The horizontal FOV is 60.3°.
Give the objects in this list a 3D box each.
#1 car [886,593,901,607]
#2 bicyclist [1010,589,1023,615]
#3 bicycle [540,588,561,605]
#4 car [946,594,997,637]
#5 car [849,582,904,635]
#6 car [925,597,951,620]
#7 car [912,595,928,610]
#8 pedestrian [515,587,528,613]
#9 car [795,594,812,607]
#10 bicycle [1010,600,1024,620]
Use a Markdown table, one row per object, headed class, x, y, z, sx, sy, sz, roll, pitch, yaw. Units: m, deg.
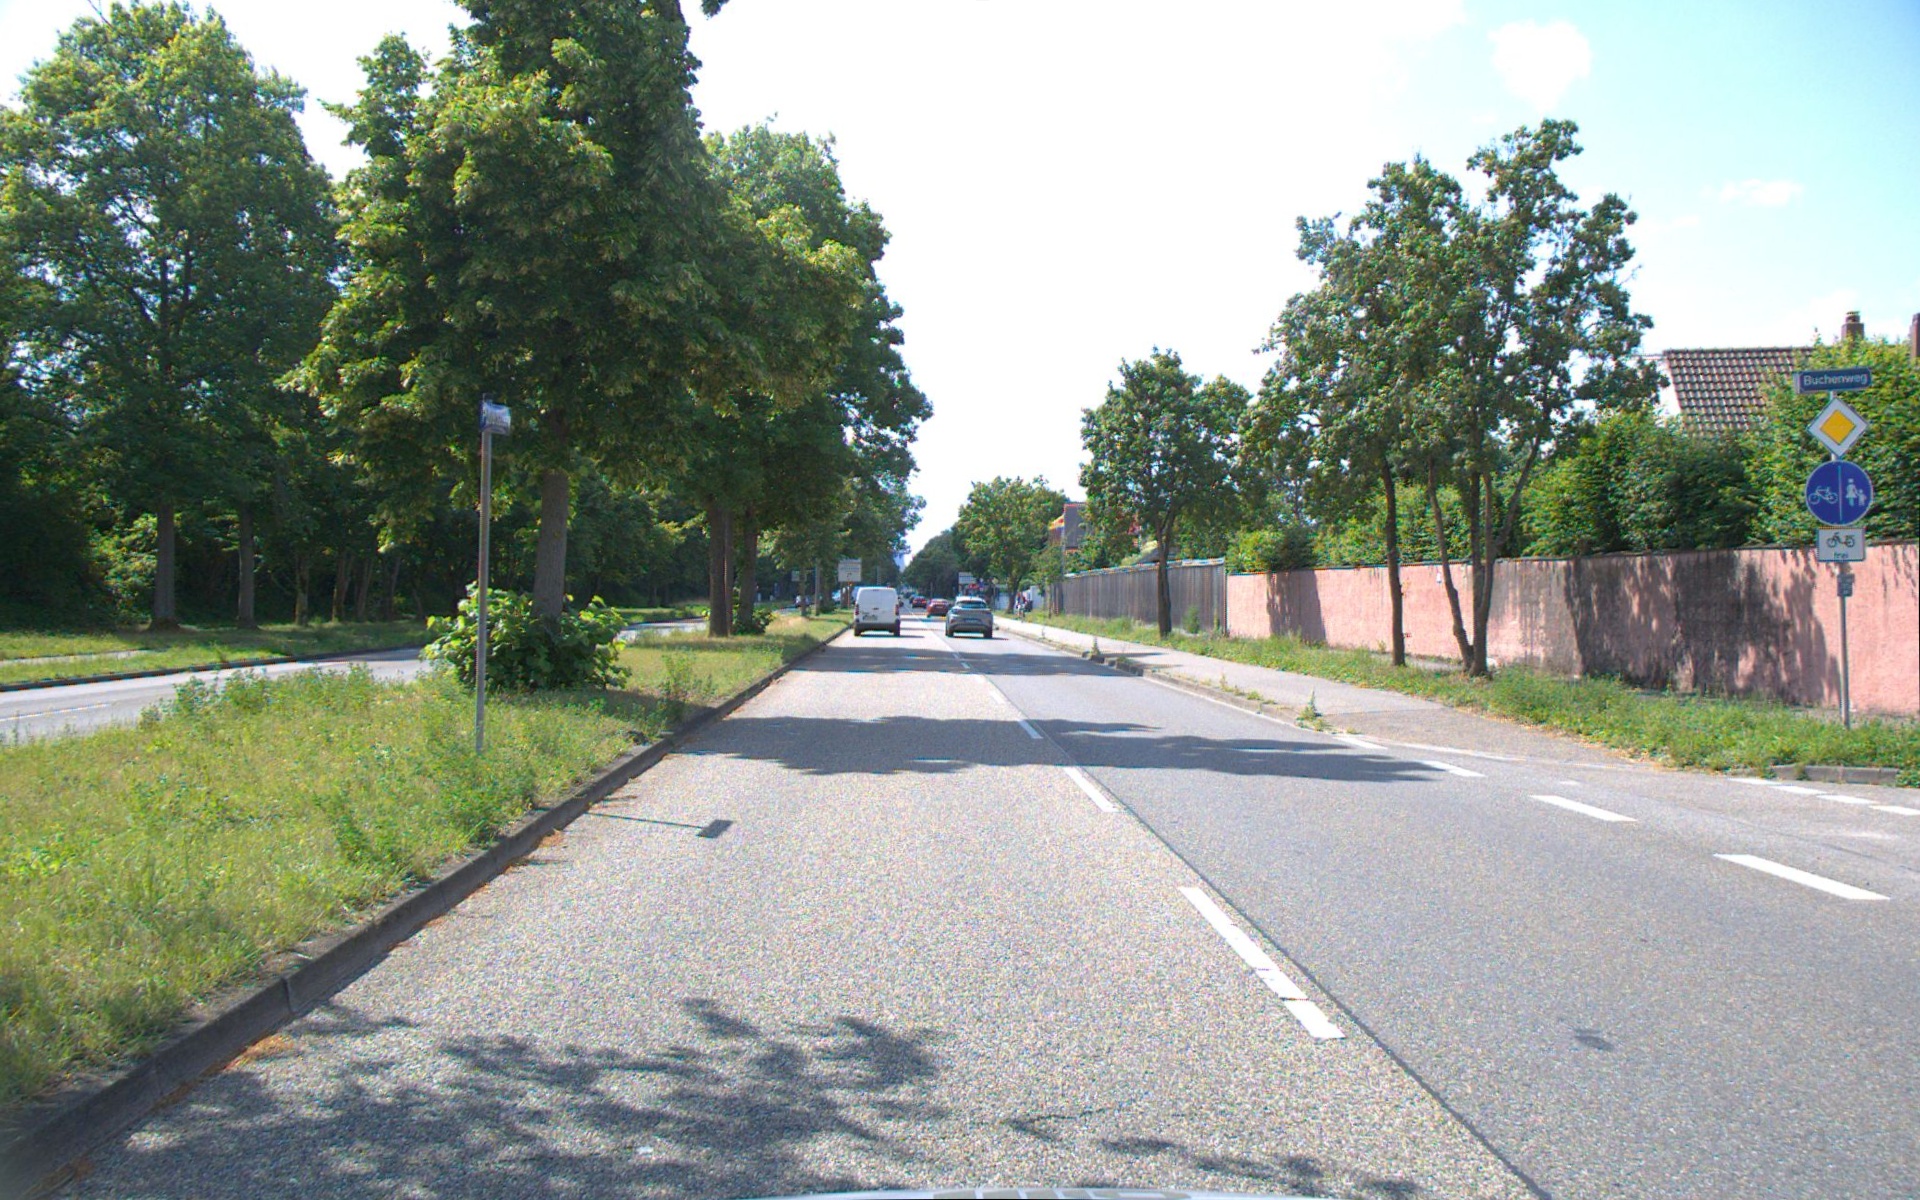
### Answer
| class | x | y | z | sx | sy | sz | roll | pitch | yaw |
| --- | --- | --- | --- | --- | --- | --- | --- | --- | --- |
| car | -8.756 | -0.034 | 218.009 | 1.902 | 1.798 | 4.144 | 0 | 0 | -2 |
| bicyclist | 3.212 | 0.122 | 93.794 | 0.641 | 1.436 | 0.986 | -2 | 0 | -1 |
| bicycle | -21.571 | -0.172 | 87.210 | 0.605 | 0.894 | 1.915 | 1 | 0 | 1 |
| car | 0.426 | 0.595 | 64.851 | 1.837 | 1.617 | 4.183 | 0 | 0 | -2 |
| car | -3.192 | 0.288 | 63.819 | 2.024 | 1.945 | 4.644 | 1 | 0 | -2 |
| car | -1.695 | 0.630 | 125.485 | 1.842 | 1.615 | 3.998 | 1 | 0 | -2 |
| car | -5.255 | 0.331 | 215.518 | 1.953 | 1.803 | 4.145 | 2 | 0 | -2 |
| pedestrian | -28.120 | 0.016 | 106.039 | 0.631 | 1.658 | 0.656 | 2 | 0 | -2 |
| car | -20.543 | 0.091 | 217.548 | 1.953 | 1.735 | 4.192 | 0 | 0 | -2 |
| bicycle | 3.226 | 0.545 | 93.733 | 0.633 | 1.086 | 2.278 | -2 | 0 | -1 |
